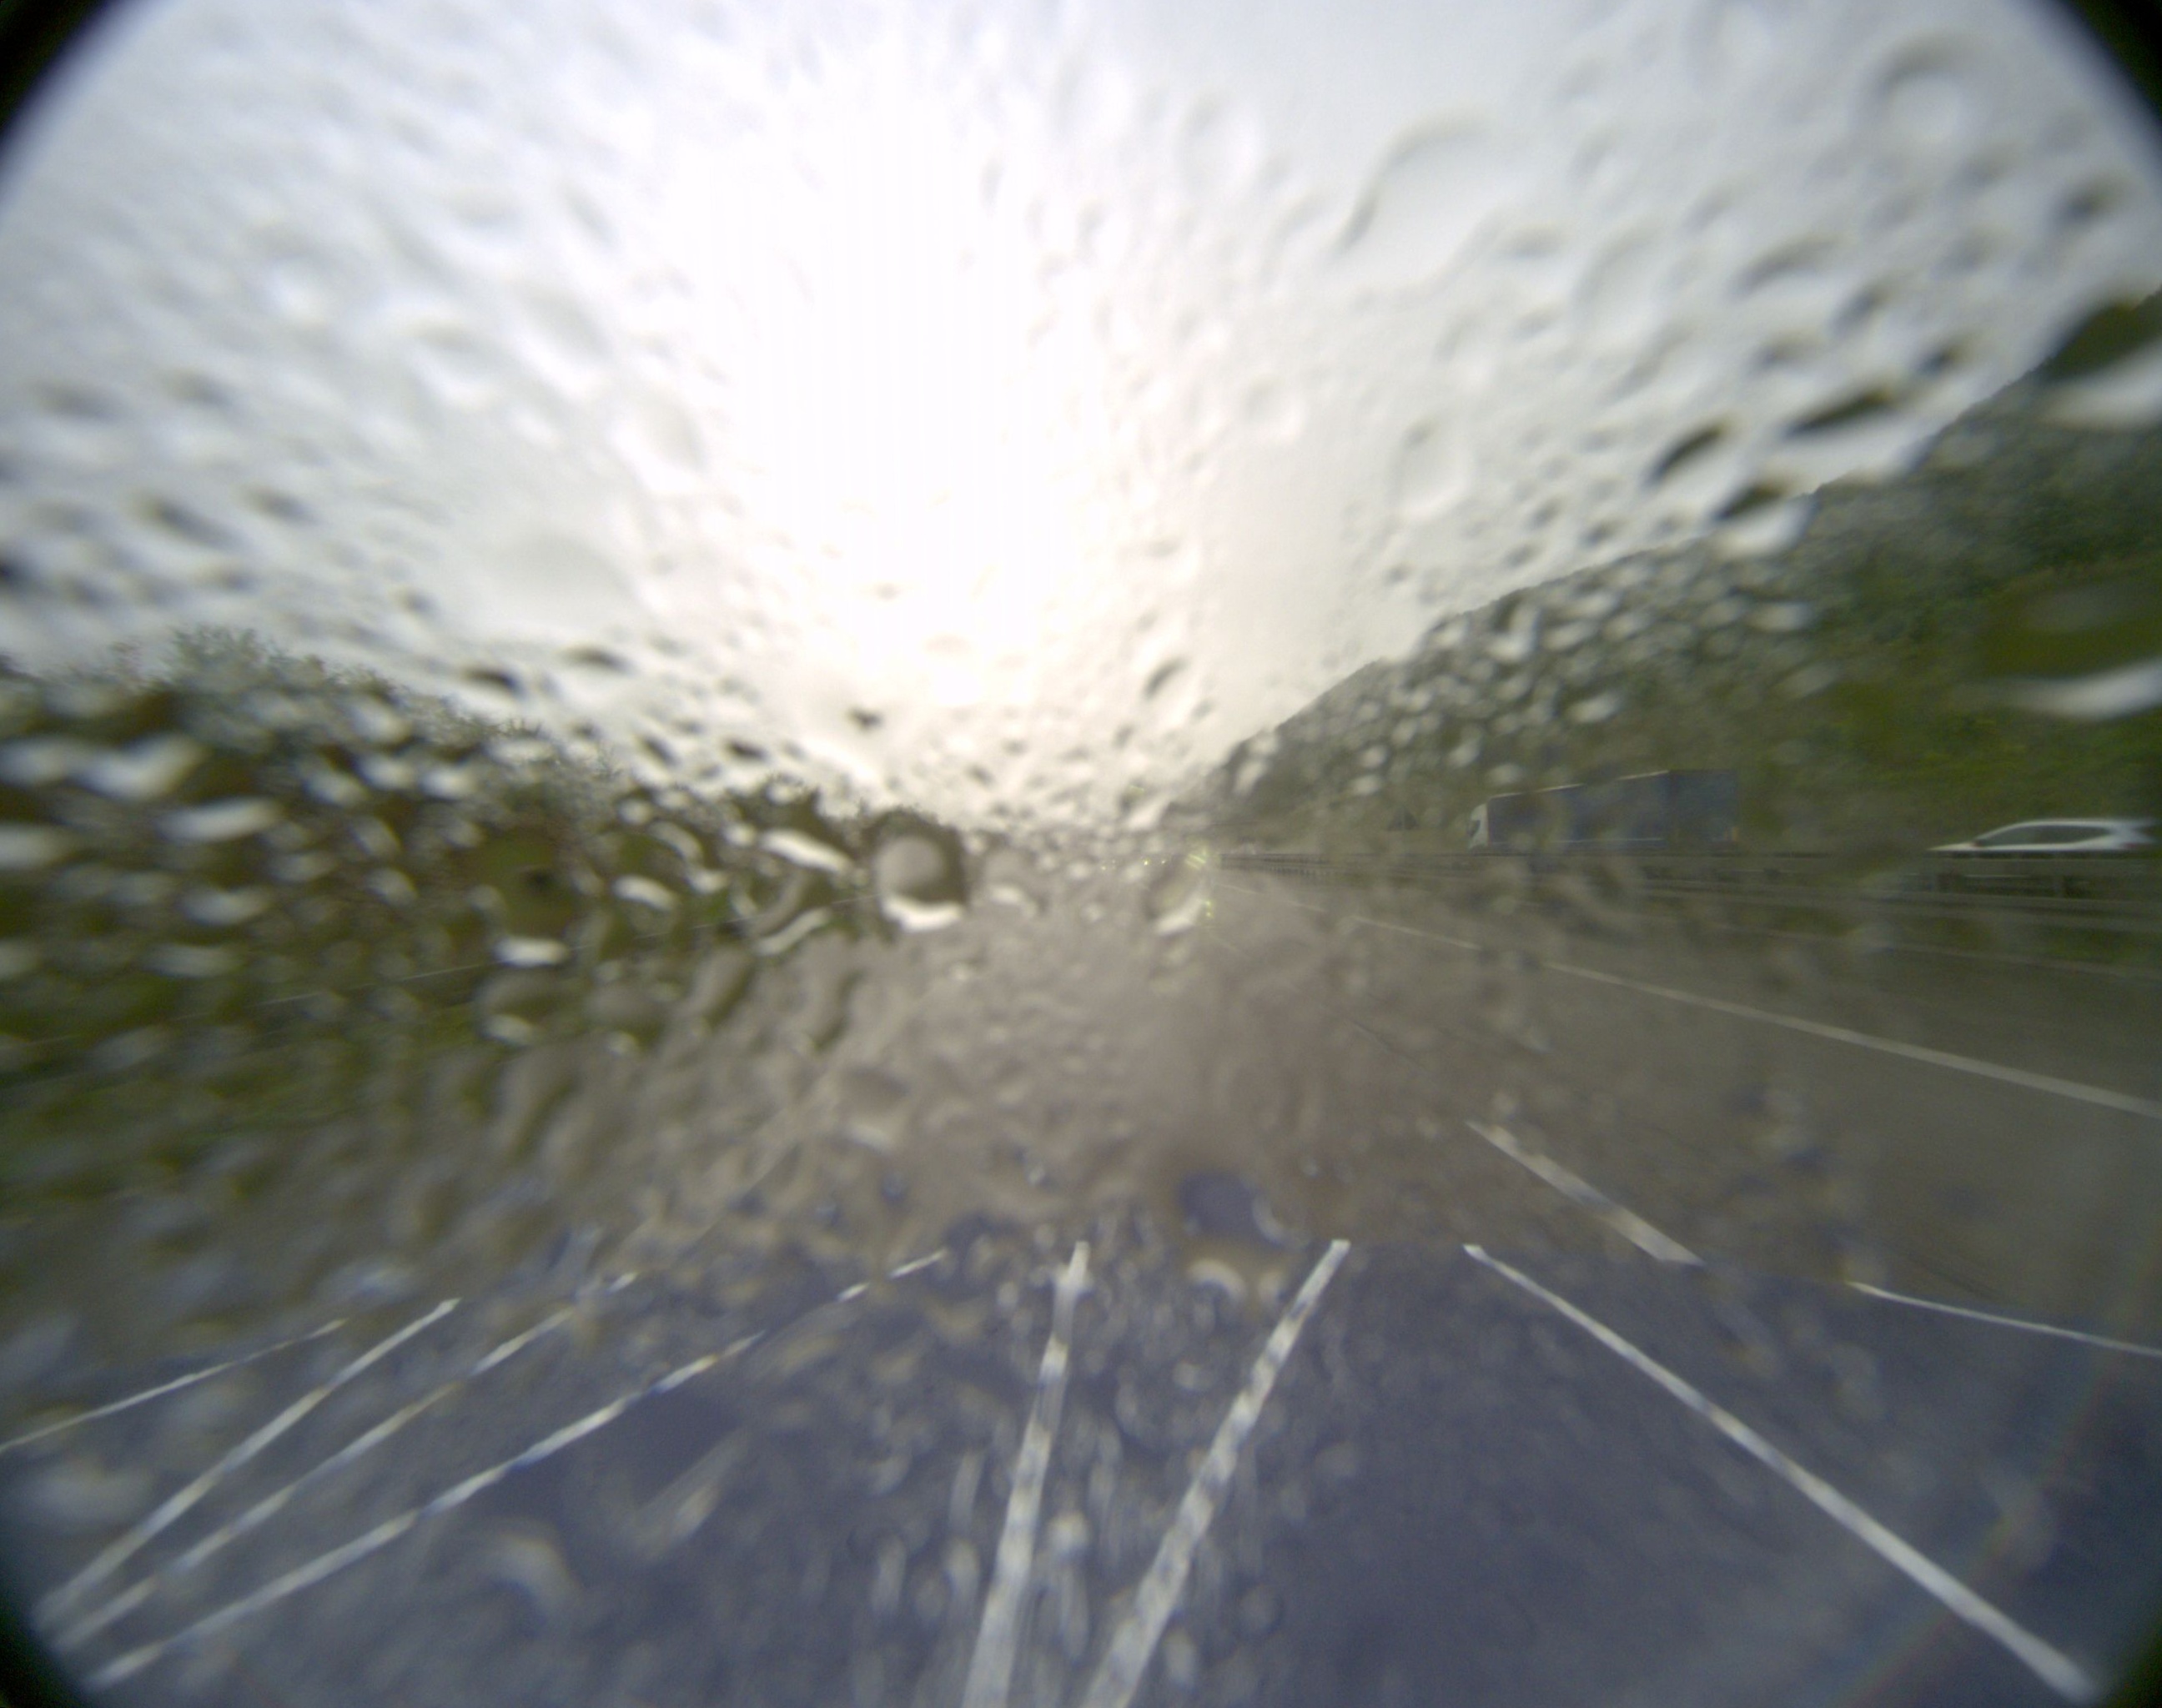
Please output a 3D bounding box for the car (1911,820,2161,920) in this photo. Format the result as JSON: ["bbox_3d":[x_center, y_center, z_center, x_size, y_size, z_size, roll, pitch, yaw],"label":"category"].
[{"bbox_3d":[19.673,0.248,14.784,1.998,1.735,4.659,-2,0,1],"label":"car"}]

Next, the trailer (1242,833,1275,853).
[{"bbox_3d":[29.371,-1.742,126.495,2.820,3.035,14.902,-2,0,3],"label":"trailer"}]

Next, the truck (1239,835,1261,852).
[{"bbox_3d":[29.780,-1.843,134.276,2.814,2.981,5.518,-2,0,3],"label":"truck"}]

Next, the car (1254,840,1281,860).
[{"bbox_3d":[19.414,-0.399,79.274,1.998,2.002,4.000,-2,0,2],"label":"car"}]

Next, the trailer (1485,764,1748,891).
[{"bbox_3d":[24.137,-1.043,35.953,2.743,4.758,14.043,-2,0,1],"label":"trailer"}]

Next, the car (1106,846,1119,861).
[{"bbox_3d":[4.488,-0.042,108.845,1.835,2.002,3.938,-2,1,2],"label":"car"}]

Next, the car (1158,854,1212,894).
[{"bbox_3d":[4.731,0.855,35.294,1.998,1.673,4.909,0,1,2],"label":"car"}]

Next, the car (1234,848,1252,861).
[{"bbox_3d":[25.869,0.034,121.353,1.998,2.002,4.000,-2,0,2],"label":"car"}]

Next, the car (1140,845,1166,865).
[{"bbox_3d":[6.186,0.069,65.581,1.814,1.692,3.748,-2,1,0],"label":"car"}]

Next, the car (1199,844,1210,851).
[{"bbox_3d":[36.136,-1.883,222.240,2.392,2.002,4.705,-2,1,3],"label":"car"}]

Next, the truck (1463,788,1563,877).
[{"bbox_3d":[24.270,-1.165,42.975,2.696,4.645,5.156,-2,0,1],"label":"truck"}]

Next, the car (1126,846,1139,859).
[{"bbox_3d":[8.912,-0.265,131.232,1.998,2.002,4.000,-2,0,1],"label":"car"}]
